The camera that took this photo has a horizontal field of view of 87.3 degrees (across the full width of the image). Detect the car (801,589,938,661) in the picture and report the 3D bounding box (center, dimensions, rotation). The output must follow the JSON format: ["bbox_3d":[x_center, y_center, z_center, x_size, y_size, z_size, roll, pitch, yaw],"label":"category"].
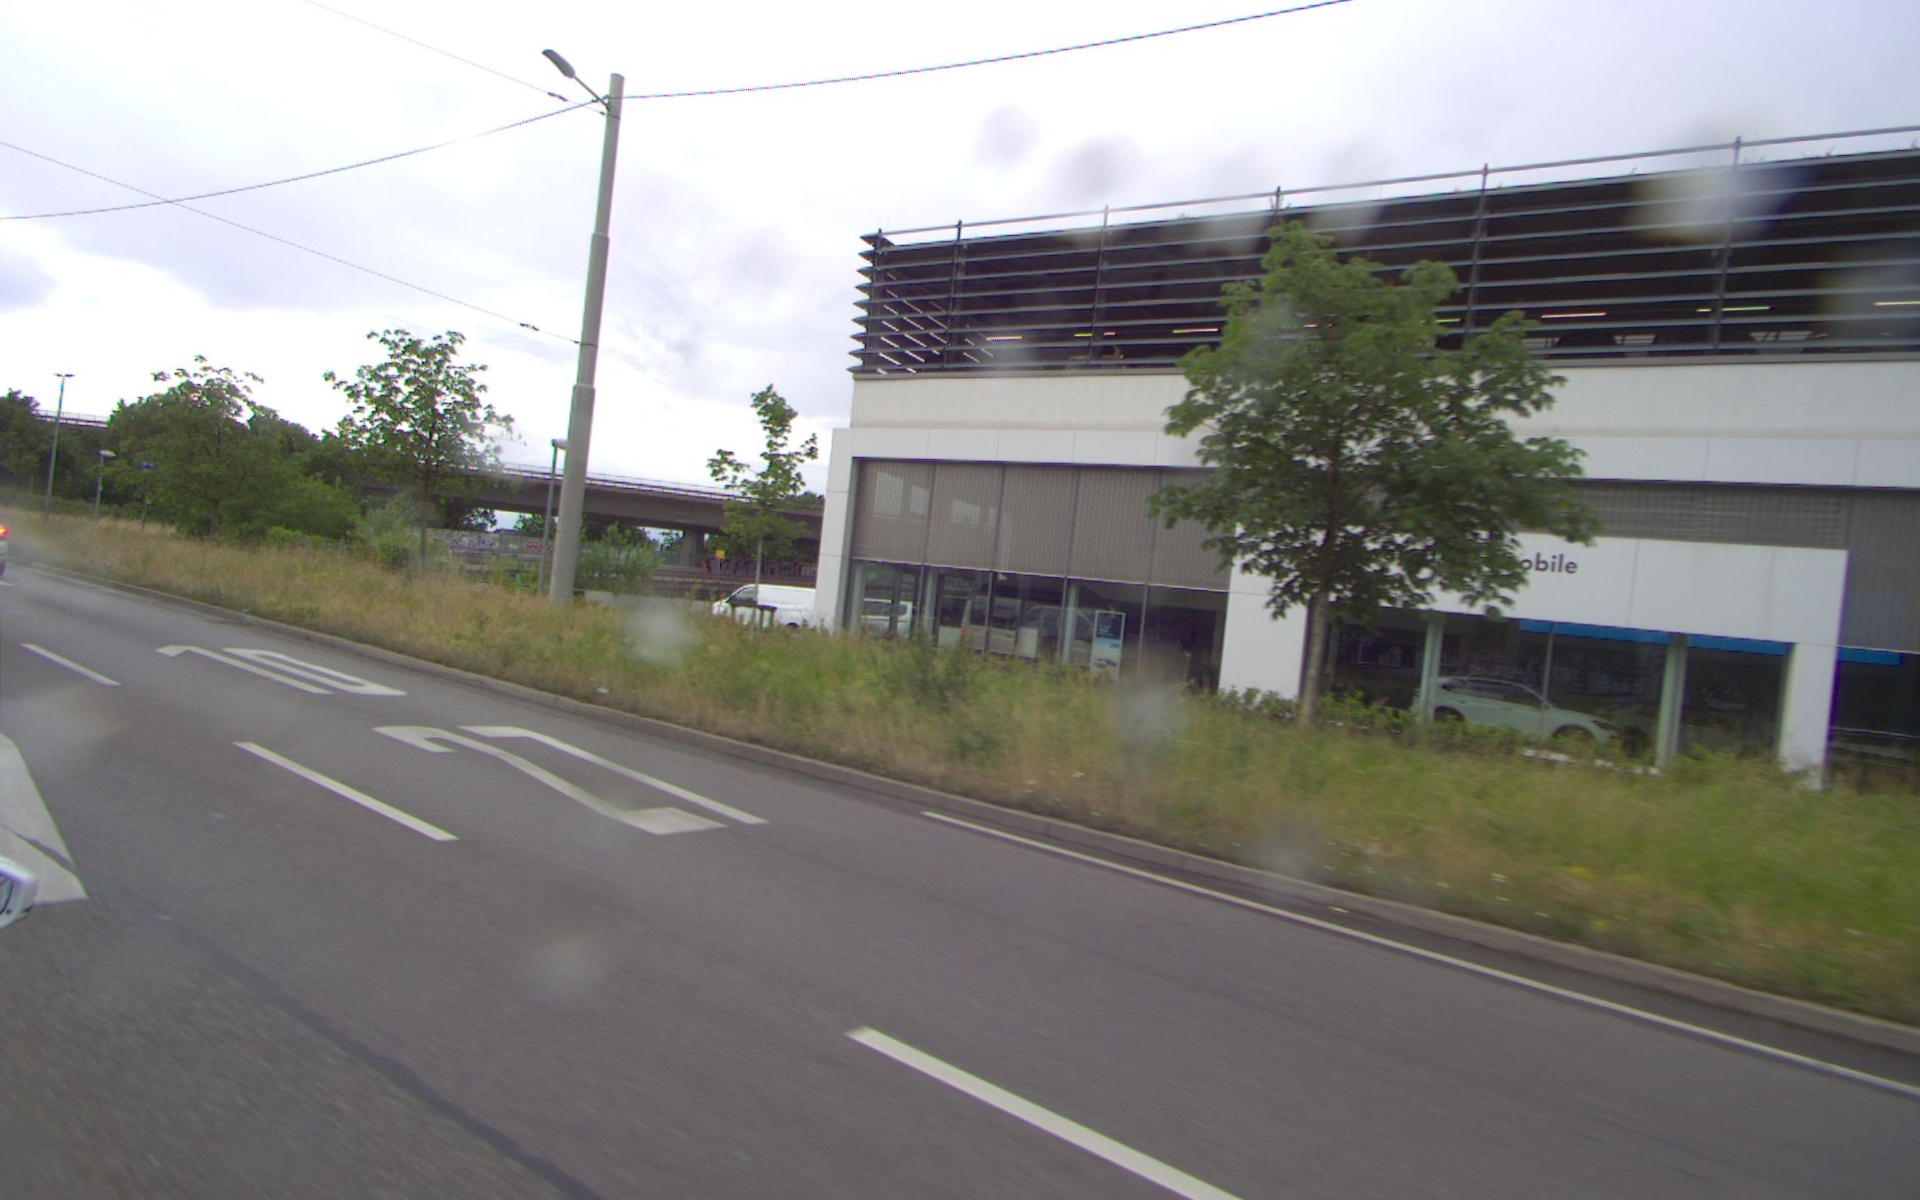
[{"bbox_3d":[-3.456,0.947,38.277,4.624,2.073,1.952,7,-2,27],"label":"car"}]

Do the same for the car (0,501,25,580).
[{"bbox_3d":[-20.152,-1.394,19.751,3.612,1.474,1.749,7,-2,34],"label":"car"}]

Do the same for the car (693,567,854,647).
[{"bbox_3d":[-6.365,0.221,34.163,5.002,2.037,2.049,7,-1,28],"label":"car"}]
